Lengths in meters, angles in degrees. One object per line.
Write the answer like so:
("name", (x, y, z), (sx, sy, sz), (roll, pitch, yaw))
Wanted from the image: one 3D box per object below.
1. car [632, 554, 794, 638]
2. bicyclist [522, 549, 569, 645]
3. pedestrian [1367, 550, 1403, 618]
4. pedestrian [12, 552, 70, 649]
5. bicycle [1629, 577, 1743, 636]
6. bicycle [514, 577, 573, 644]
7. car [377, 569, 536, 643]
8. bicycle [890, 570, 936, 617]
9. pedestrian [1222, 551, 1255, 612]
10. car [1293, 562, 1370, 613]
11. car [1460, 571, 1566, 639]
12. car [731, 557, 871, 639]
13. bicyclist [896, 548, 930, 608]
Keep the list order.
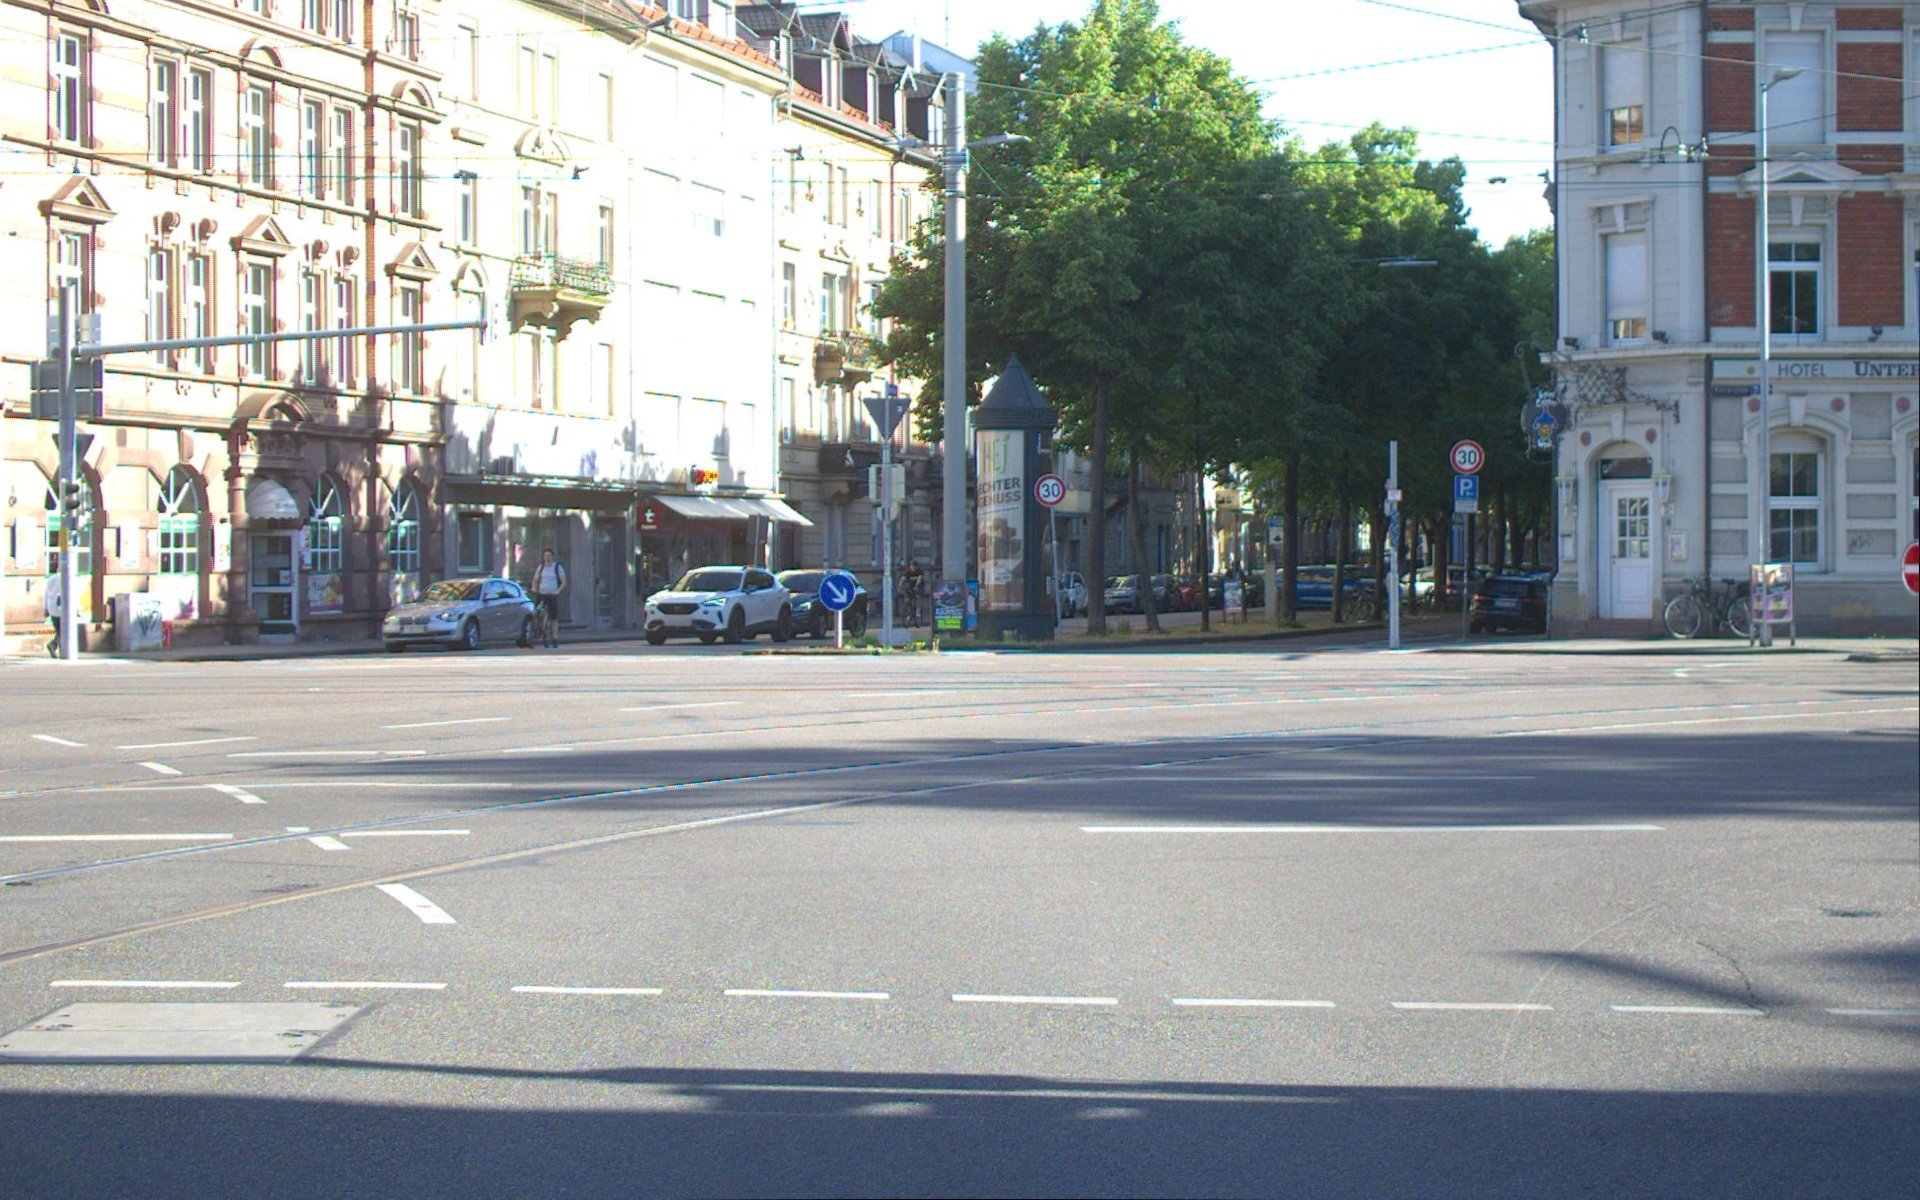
("car", (-4.792, -0.089, 67.266), (1.804, 1.579, 4.156), (1, 1, 17))
("bicyclist", (-7.853, -0.065, 65.105), (0.565, 1.797, 0.913), (1, 0, 15))
("pedestrian", (12.640, -0.487, 102.296), (0.961, 2.007, 0.918), (1, 0, 1))
("pedestrian", (-15.610, 0.001, 58.384), (0.568, 1.636, 0.792), (1, 0, 23))
("bicycle", (12.064, 0.105, 57.122), (1.804, 0.959, 0.603), (1, 0, 14))
("bicycle", (-7.874, 0.193, 65.005), (0.565, 1.250, 1.556), (1, 0, 14))
("car", (-9.789, 0.104, 67.054), (1.661, 1.369, 3.889), (1, 1, 15))
("bicycle", (-1.228, -0.175, 90.337), (0.674, 1.203, 1.820), (1, 1, 18))
("pedestrian", (9.264, -0.625, 114.353), (0.944, 2.007, 0.826), (1, 0, 14))
("car", (12.620, -0.420, 116.613), (1.995, 1.678, 3.997), (1, 1, 15))
("car", (13.290, 0.105, 82.516), (1.758, 1.550, 3.996), (1, 1, 20))
("car", (-3.365, -0.060, 73.617), (1.826, 1.679, 3.872), (1, 1, 16))
("bicyclist", (-1.222, -0.589, 90.336), (0.674, 1.563, 0.747), (1, 0, 18))
